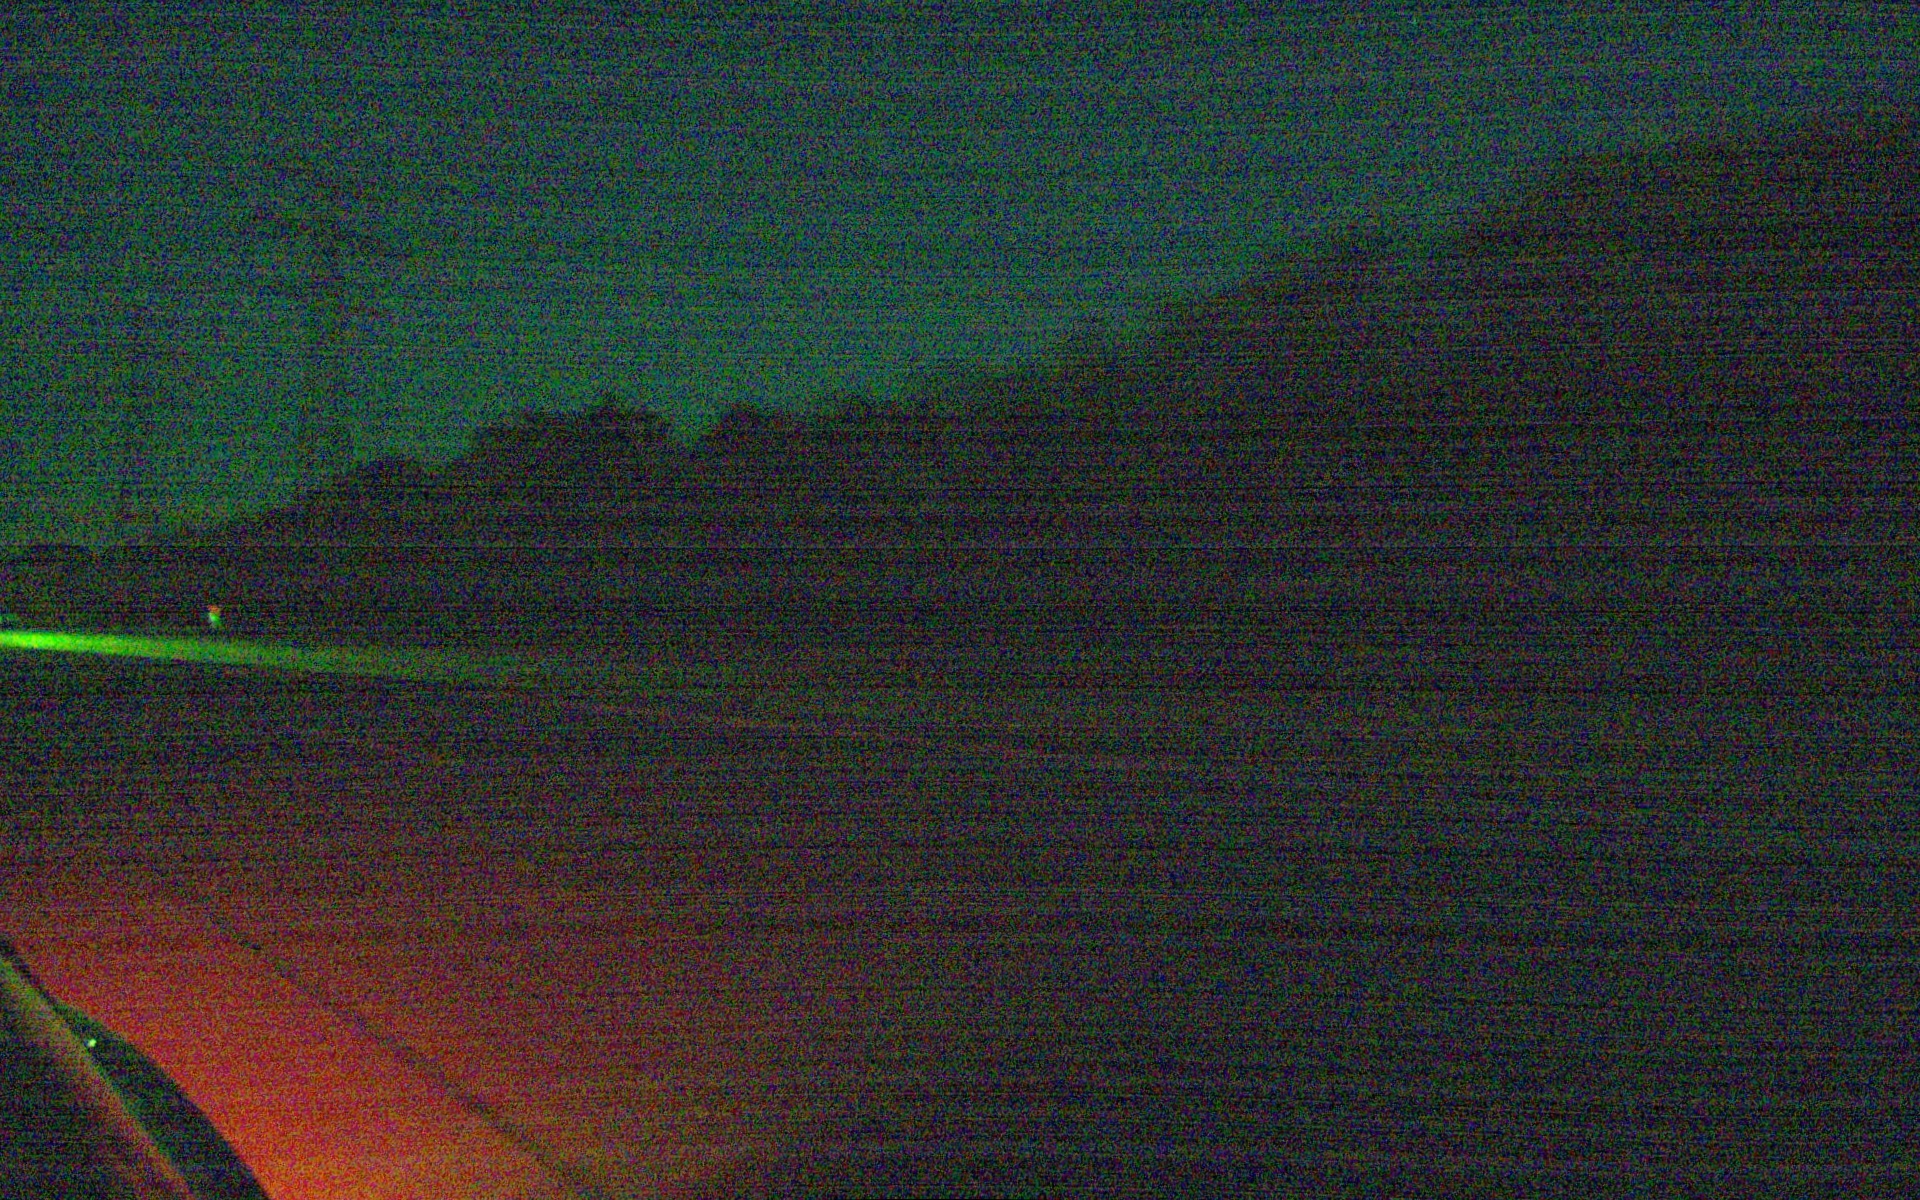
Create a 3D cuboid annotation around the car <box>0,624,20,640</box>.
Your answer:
[{"bbox_3d":[-135.882,4.604,144.573,3.998,2.261,1.973,-2,-1,41],"label":"car"}]
